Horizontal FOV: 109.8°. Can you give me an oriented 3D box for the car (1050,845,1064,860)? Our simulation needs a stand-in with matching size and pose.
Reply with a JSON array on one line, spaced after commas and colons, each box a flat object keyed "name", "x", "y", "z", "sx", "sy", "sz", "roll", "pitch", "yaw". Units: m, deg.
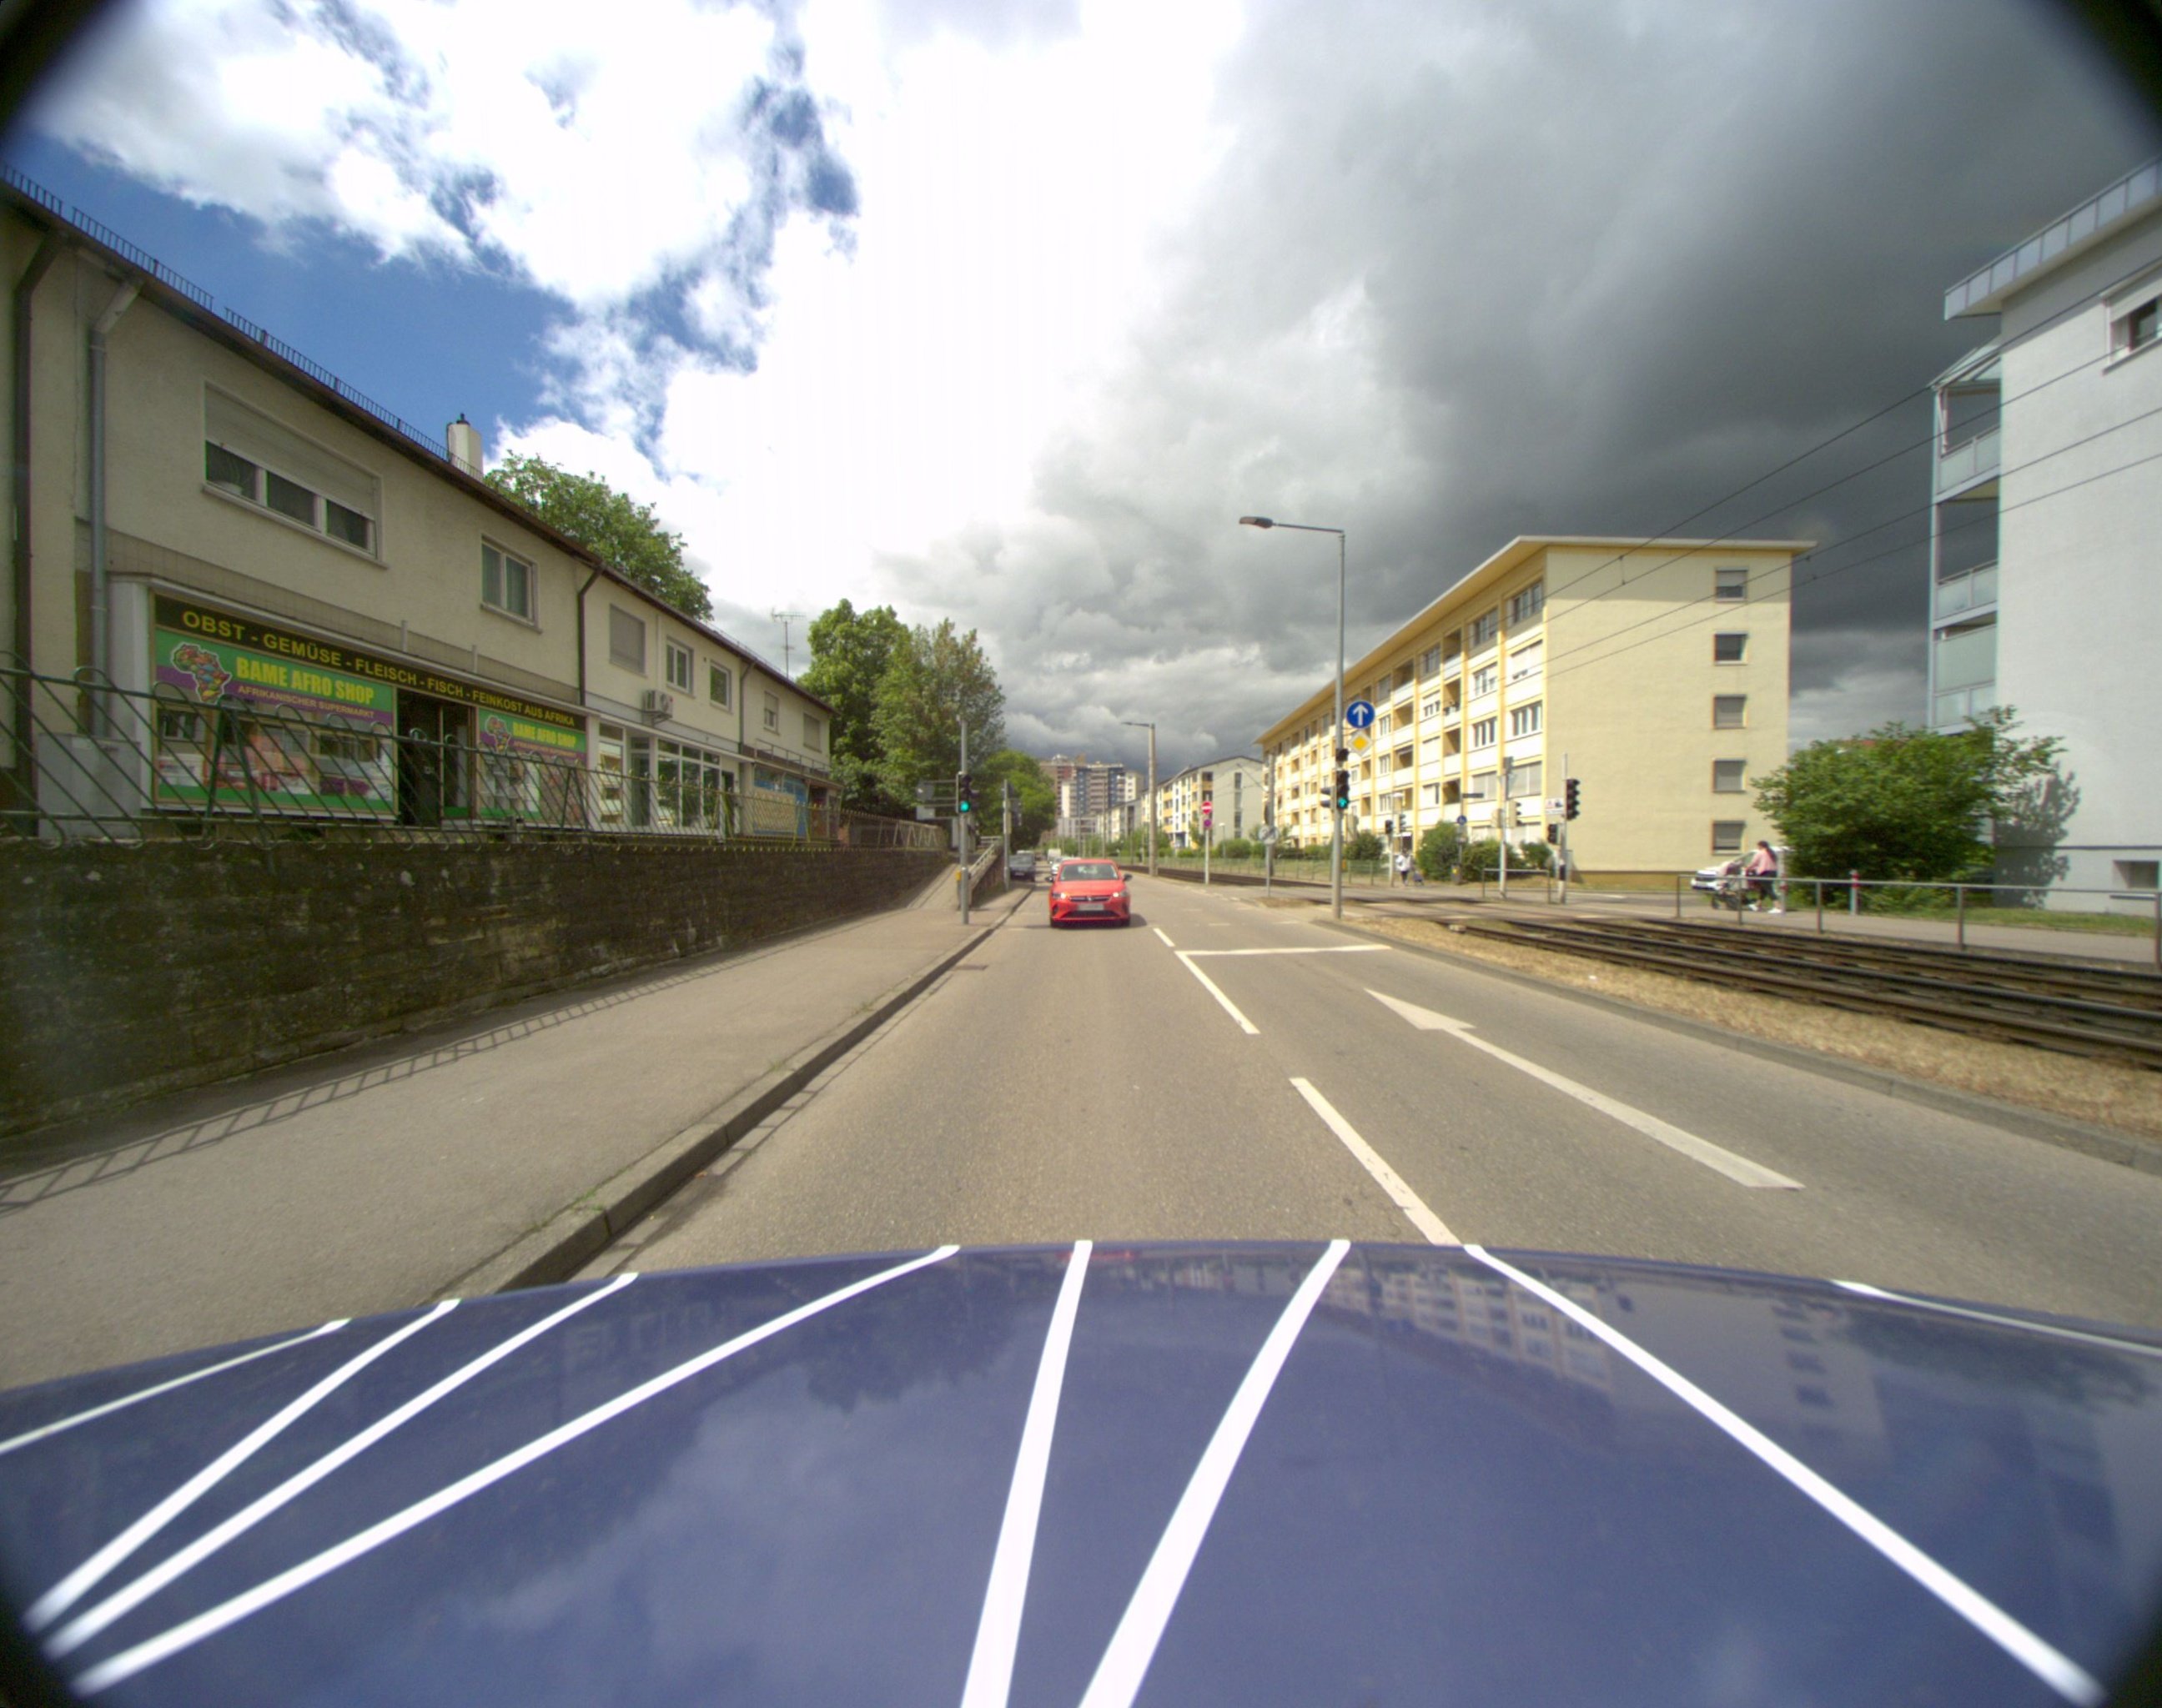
[{"name": "car", "x": -4.121, "y": -0.287, "z": 128.661, "sx": 2.237, "sy": 2.460, "sz": 5.084, "roll": 0, "pitch": 0, "yaw": -4}]

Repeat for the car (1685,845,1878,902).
[{"name": "car", "x": 22.115, "y": 0.602, "z": 24.144, "sx": 4.286, "sy": 1.719, "sz": 1.810, "roll": 0, "pitch": 1, "yaw": 6}]

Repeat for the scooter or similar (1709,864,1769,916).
[{"name": "scooter or similar", "x": 15.248, "y": 0.817, "z": 17.622, "sx": 0.609, "sy": 1.156, "sz": 0.891, "roll": -1, "pitch": 1, "yaw": 0}]

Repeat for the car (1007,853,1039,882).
[{"name": "car", "x": -3.295, "y": 0.719, "z": 43.798, "sx": 1.760, "sy": 1.570, "sz": 4.020, "roll": 0, "pitch": 0, "yaw": -4}]

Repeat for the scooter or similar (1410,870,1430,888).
[{"name": "scooter or similar", "x": 14.511, "y": 1.067, "z": 32.546, "sx": 0.534, "sy": 0.769, "sz": 0.666, "roll": 0, "pitch": 1, "yaw": -1}]

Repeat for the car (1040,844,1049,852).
[{"name": "car", "x": -9.574, "y": -1.552, "z": 200.306, "sx": 2.237, "sy": 2.050, "sz": 4.360, "roll": 0, "pitch": 0, "yaw": -4}]

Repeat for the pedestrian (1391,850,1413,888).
[{"name": "pedestrian", "x": 13.965, "y": 0.644, "z": 33.050, "sx": 0.605, "sy": 1.598, "sz": 0.773, "roll": 1, "pitch": 1, "yaw": -1}]

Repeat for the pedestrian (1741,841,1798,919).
[{"name": "pedestrian", "x": 15.236, "y": 0.563, "z": 16.824, "sx": 0.647, "sy": 1.683, "sz": 0.679, "roll": -1, "pitch": 1, "yaw": 0}]

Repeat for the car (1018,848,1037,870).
[{"name": "car", "x": -5.192, "y": 0.449, "z": 73.983, "sx": 1.854, "sy": 1.997, "sz": 4.967, "roll": 0, "pitch": 0, "yaw": -4}]

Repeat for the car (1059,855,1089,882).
[{"name": "car", "x": -0.438, "y": 0.797, "z": 43.826, "sx": 1.499, "sy": 1.477, "sz": 3.519, "roll": 0, "pitch": 0, "yaw": -4}]

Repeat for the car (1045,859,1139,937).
[{"name": "car", "x": 0.119, "y": 0.891, "z": 17.336, "sx": 1.784, "sy": 1.434, "sz": 4.129, "roll": -2, "pitch": 1, "yaw": -4}]
